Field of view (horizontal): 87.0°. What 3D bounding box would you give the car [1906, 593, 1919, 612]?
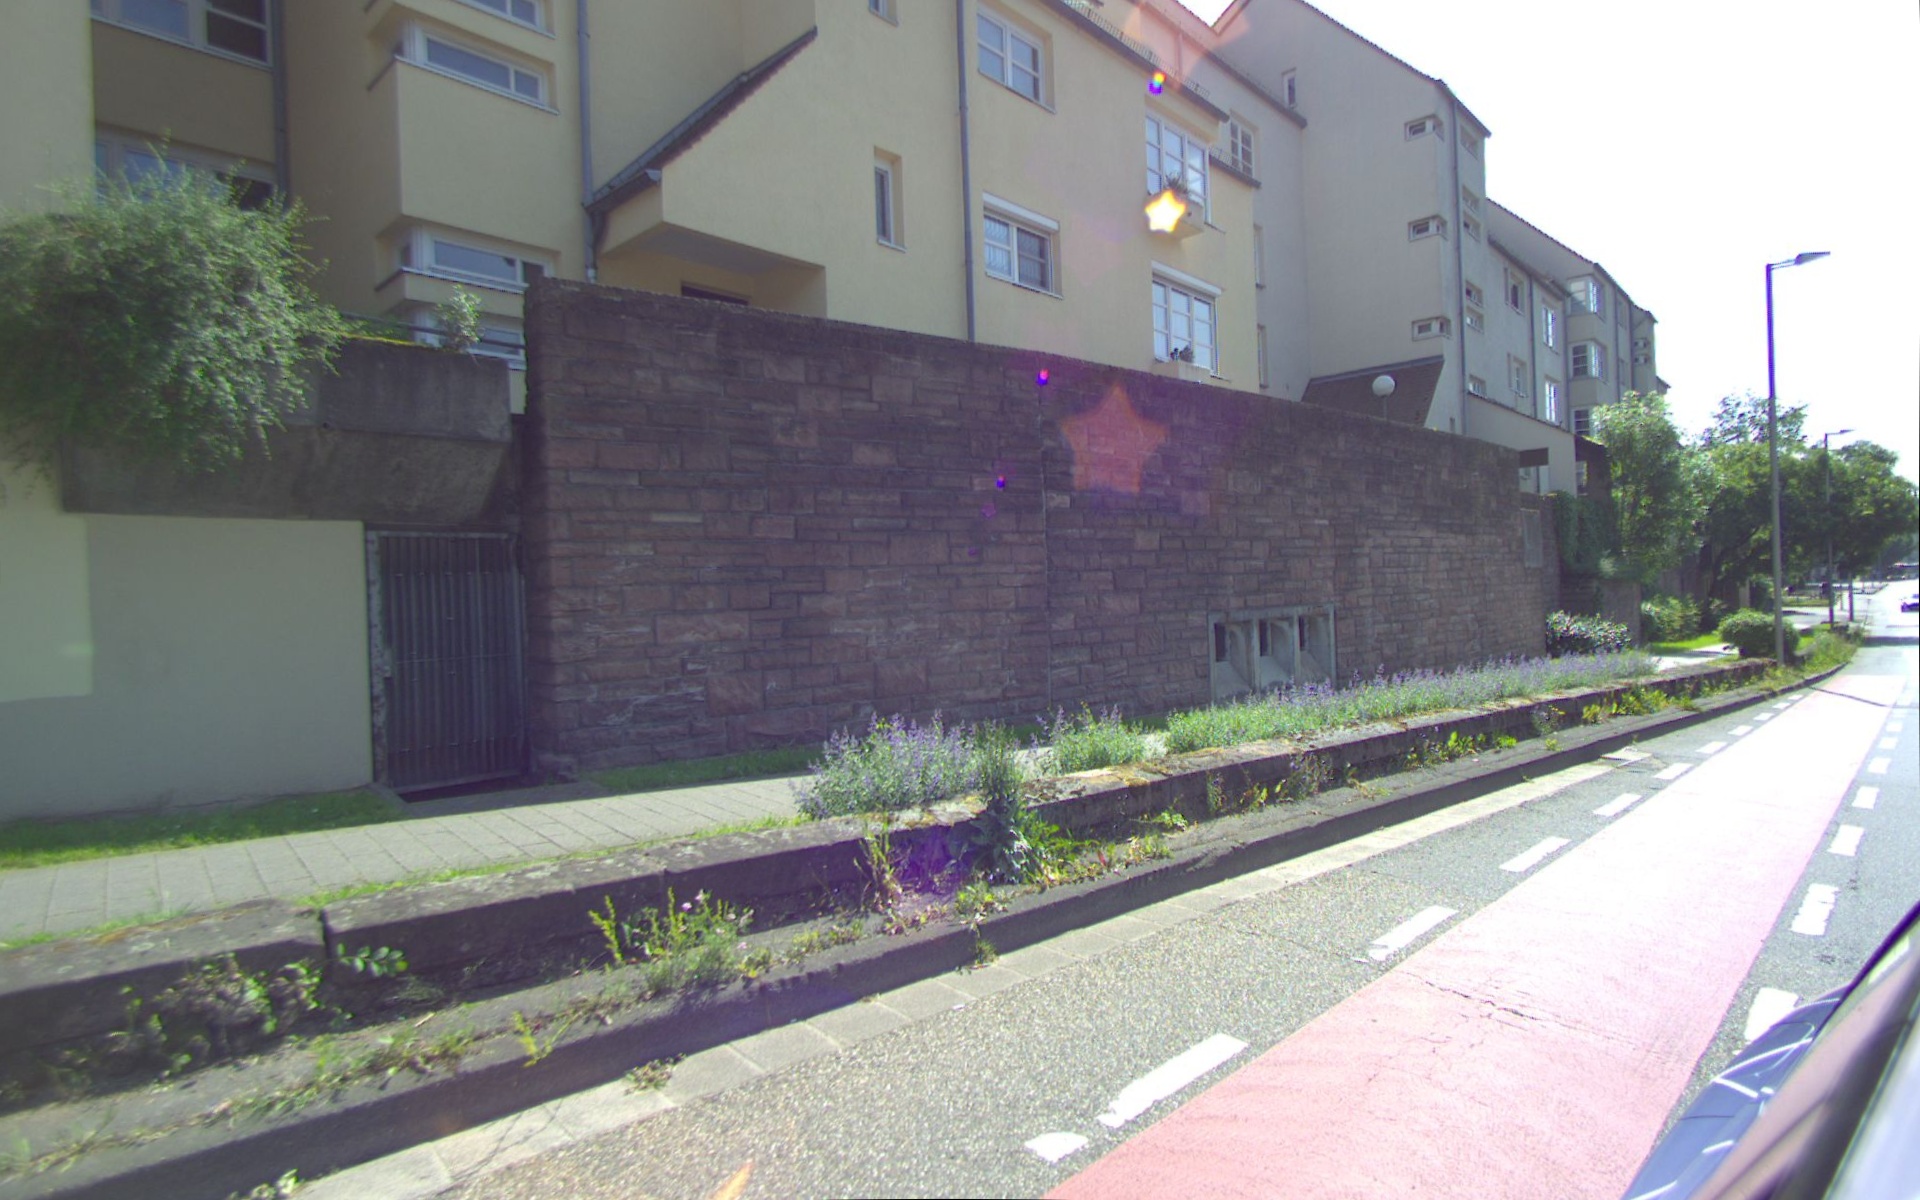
[{"bbox_3d":[75.468,0.174,79.133,3.935,1.460,1.994,-1,0,-45],"label":"car"}]
